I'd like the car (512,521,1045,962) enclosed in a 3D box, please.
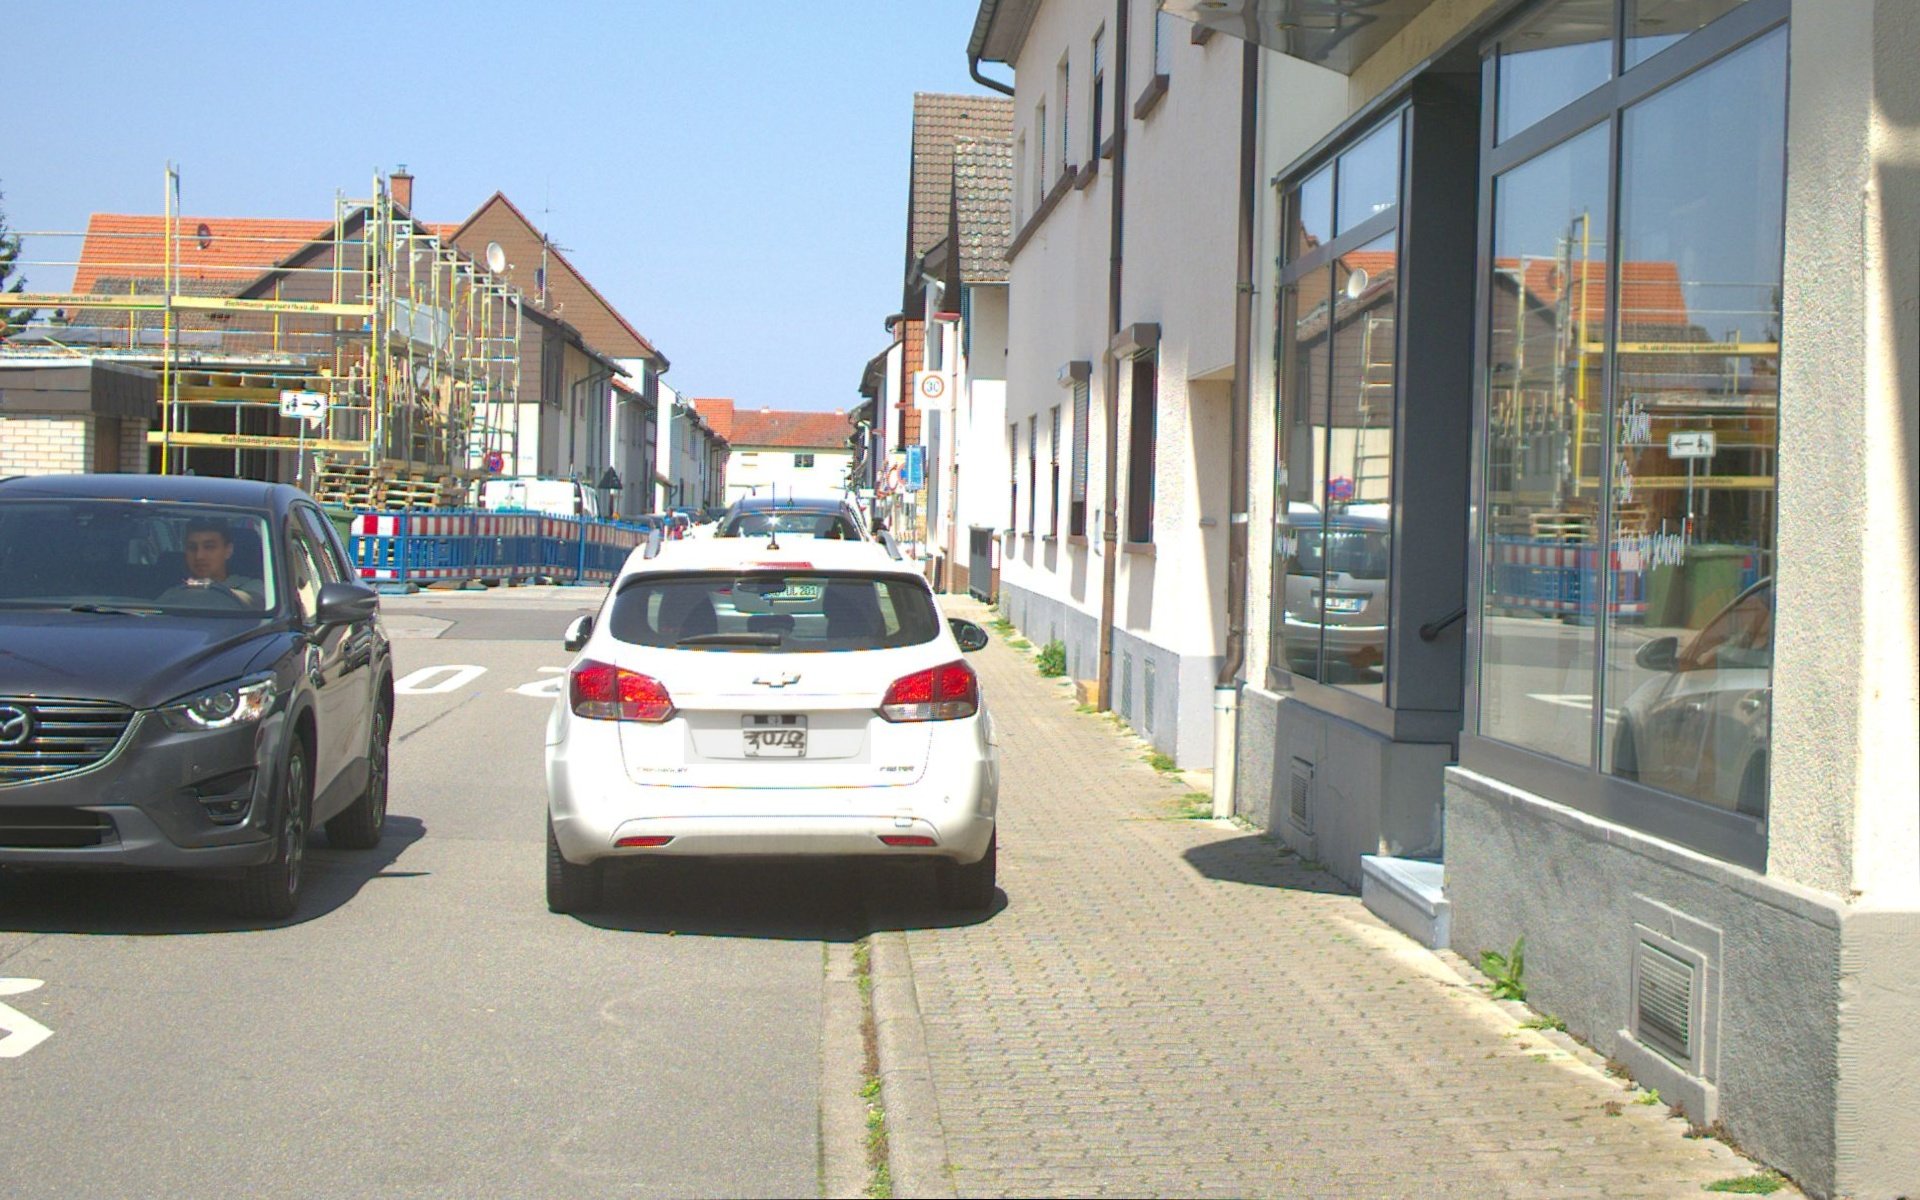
[{"bbox_3d":[-0.850,0.474,14.614,1.886,1.536,4.244,2,1,-5],"label":"car"}]

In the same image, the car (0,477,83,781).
[{"bbox_3d":[-6.012,0.128,18.213,1.826,1.625,4.218,2,1,-3],"label":"car"}]

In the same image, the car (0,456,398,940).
[{"bbox_3d":[-3.468,0.277,14.041,1.881,1.662,4.154,2,1,-4],"label":"car"}]

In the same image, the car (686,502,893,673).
[{"bbox_3d":[-1.770,-0.172,34.521,1.884,1.550,3.895,-2,2,-5],"label":"car"}]

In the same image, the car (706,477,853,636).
[{"bbox_3d":[-2.070,-0.540,39.687,1.564,1.607,3.543,2,4,-3],"label":"car"}]

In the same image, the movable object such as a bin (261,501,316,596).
[{"bbox_3d":[-8.358,-0.644,42.807,0.621,1.151,0.677,2,2,-9],"label":"movable object such as a bin"}]

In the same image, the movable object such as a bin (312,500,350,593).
[{"bbox_3d":[-7.919,-0.679,43.303,0.431,1.151,0.364,2,2,-12],"label":"movable object such as a bin"}]

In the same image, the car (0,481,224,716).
[{"bbox_3d":[-6.090,-0.052,23.640,1.436,1.469,3.787,1,1,-4],"label":"car"}]
